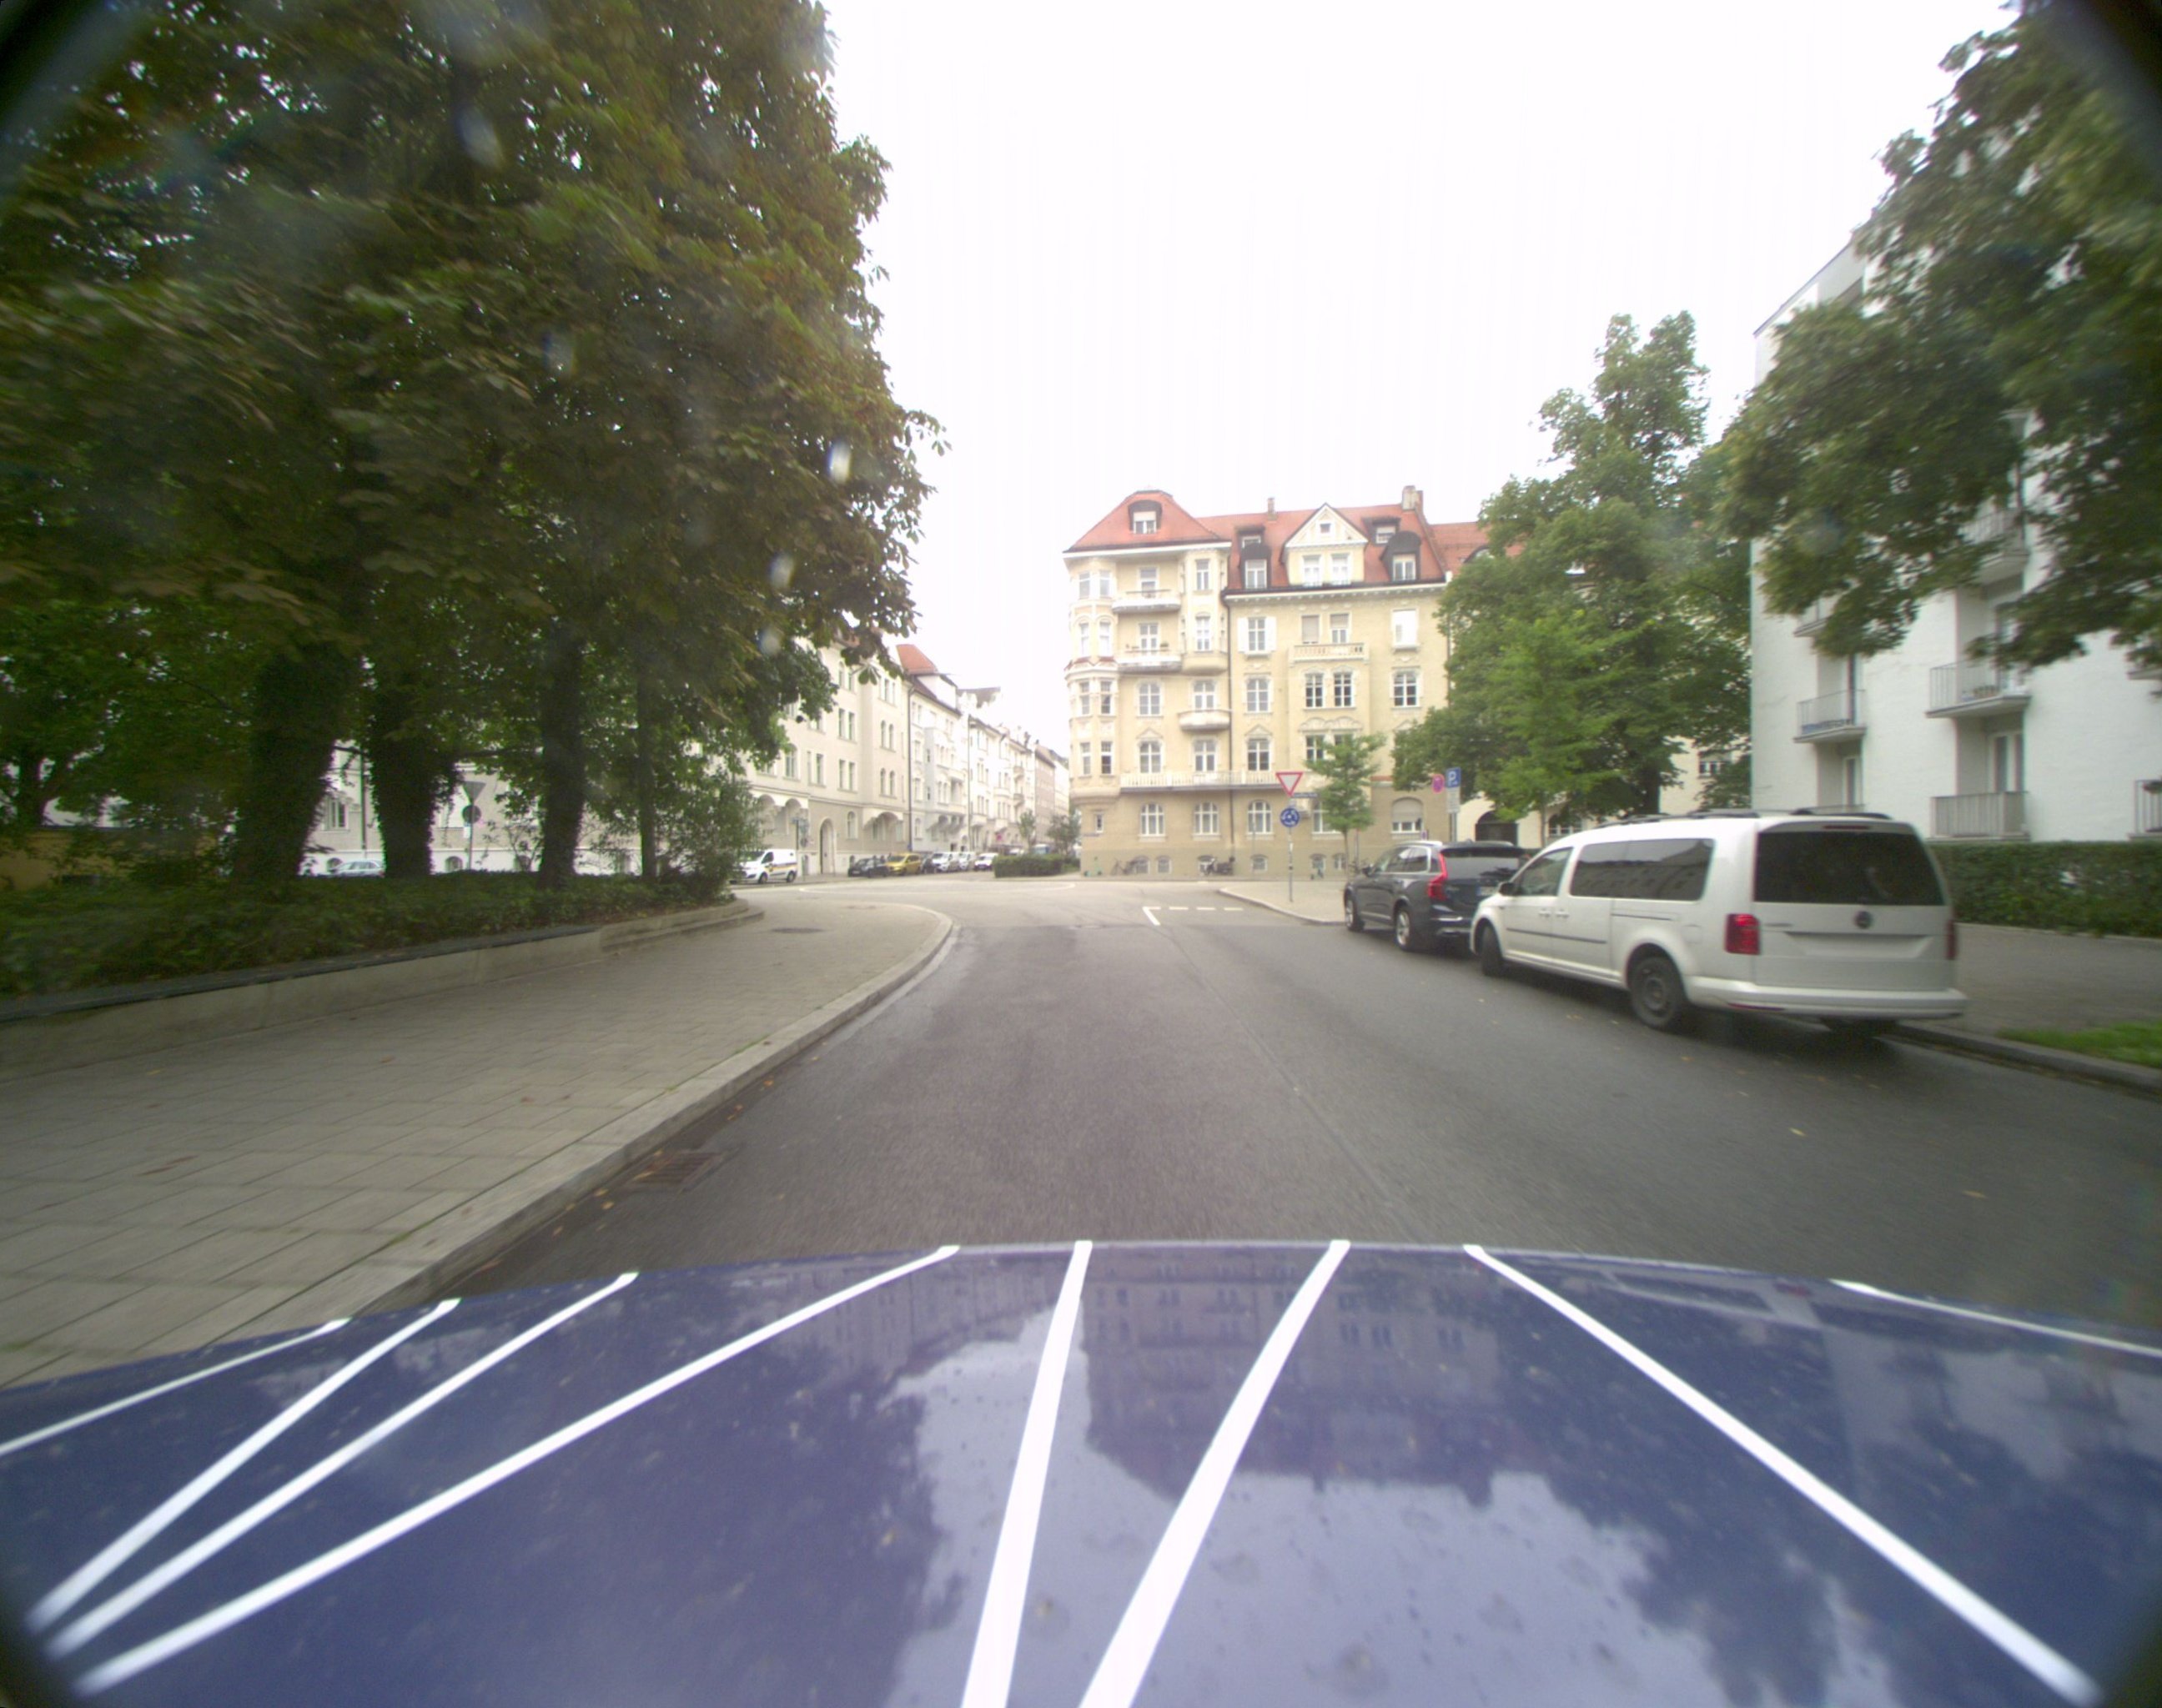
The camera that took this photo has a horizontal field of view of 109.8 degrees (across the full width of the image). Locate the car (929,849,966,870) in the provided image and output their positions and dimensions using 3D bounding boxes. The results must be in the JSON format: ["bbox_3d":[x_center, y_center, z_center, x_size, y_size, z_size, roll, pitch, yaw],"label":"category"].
[{"bbox_3d":[-12.586,0.530,71.941,1.997,1.907,4.889,0,0,9],"label":"car"}]

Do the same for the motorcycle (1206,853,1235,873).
[{"bbox_3d":[8.723,0.568,47.650,1.744,1.179,0.742,-1,0,5],"label":"motorcycle"}]

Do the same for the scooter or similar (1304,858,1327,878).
[{"bbox_3d":[13.393,0.798,43.337,1.349,1.102,0.541,-1,1,-36],"label":"scooter or similar"}]

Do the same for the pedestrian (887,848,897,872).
[{"bbox_3d":[-15.911,0.488,63.950,0.584,2.002,0.728,-1,1,12],"label":"pedestrian"}]

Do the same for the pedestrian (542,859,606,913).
[{"bbox_3d":[-12.967,0.802,19.454,0.770,1.349,1.132,-1,0,11],"label":"pedestrian"}]

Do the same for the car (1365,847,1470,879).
[{"bbox_3d":[18.606,0.496,42.192,4.983,1.666,2.001,0,1,7],"label":"car"}]

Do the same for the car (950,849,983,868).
[{"bbox_3d":[-11.757,0.446,78.270,1.997,1.907,4.881,0,0,9],"label":"car"}]

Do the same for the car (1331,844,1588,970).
[{"bbox_3d":[6.049,0.717,13.061,2.088,1.709,5.306,0,0,4],"label":"car"}]

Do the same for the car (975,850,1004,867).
[{"bbox_3d":[-9.114,0.458,75.954,1.918,1.648,4.603,0,0,6],"label":"car"}]

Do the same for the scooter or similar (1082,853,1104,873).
[{"bbox_3d":[0.765,0.578,48.681,1.284,1.264,0.458,-1,1,-10],"label":"scooter or similar"}]

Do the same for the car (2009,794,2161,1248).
[{"bbox_3d":[5.533,0.726,0.849,2.031,1.897,5.666,1,0,0],"label":"car"}]

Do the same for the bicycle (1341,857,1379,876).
[{"bbox_3d":[16.340,0.722,44.464,1.974,1.062,0.653,0,1,0],"label":"bicycle"}]

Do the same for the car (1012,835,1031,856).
[{"bbox_3d":[-8.152,-1.146,103.988,2.082,2.673,5.444,1,1,0],"label":"car"}]

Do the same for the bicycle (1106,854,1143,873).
[{"bbox_3d":[2.814,0.595,48.631,2.337,1.196,0.699,-1,0,4],"label":"bicycle"}]

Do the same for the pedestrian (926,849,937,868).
[{"bbox_3d":[-15.436,0.461,78.318,0.853,1.892,0.746,0,1,12],"label":"pedestrian"}]

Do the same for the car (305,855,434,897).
[{"bbox_3d":[-31.395,0.951,33.569,4.244,1.785,1.894,0,1,9],"label":"car"}]

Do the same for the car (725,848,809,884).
[{"bbox_3d":[-17.839,0.612,43.492,1.942,1.911,5.378,1,0,9],"label":"car"}]

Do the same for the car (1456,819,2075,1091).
[{"bbox_3d":[5.964,0.696,7.749,2.088,1.892,4.859,0,0,3],"label":"car"}]

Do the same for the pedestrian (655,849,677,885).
[{"bbox_3d":[-21.408,0.652,39.180,0.931,1.790,0.997,-1,1,-30],"label":"pedestrian"}]

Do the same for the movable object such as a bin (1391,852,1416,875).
[{"bbox_3d":[19.488,0.589,45.981,1.179,1.363,1.149,0,1,10],"label":"movable object such as a bin"}]

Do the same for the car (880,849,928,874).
[{"bbox_3d":[-14.168,0.550,61.137,1.996,1.907,4.575,0,0,12],"label":"car"}]

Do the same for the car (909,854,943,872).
[{"bbox_3d":[-13.526,0.761,66.481,1.636,1.505,3.888,-1,0,10],"label":"car"}]

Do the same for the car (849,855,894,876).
[{"bbox_3d":[-15.344,0.835,55.794,1.715,1.437,3.830,0,0,10],"label":"car"}]
